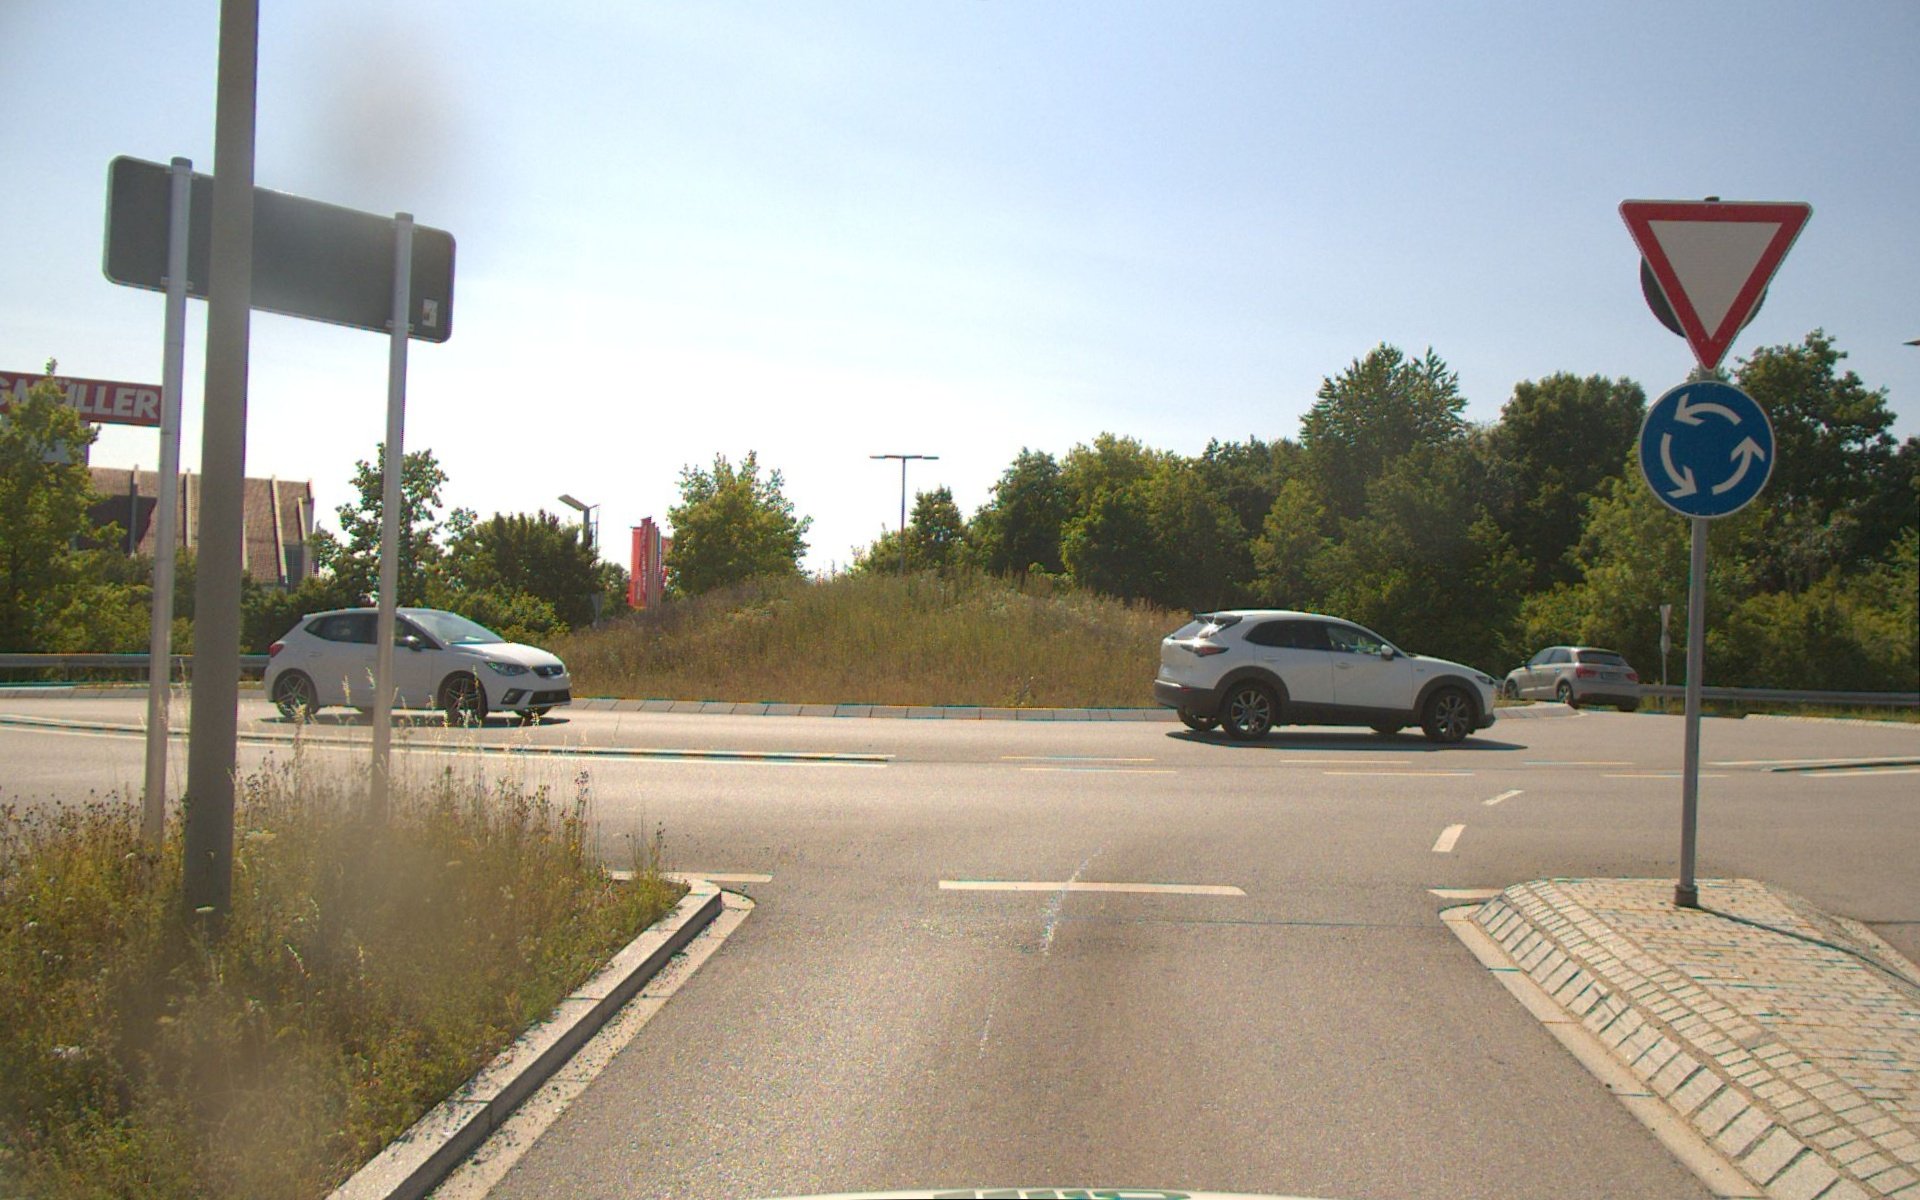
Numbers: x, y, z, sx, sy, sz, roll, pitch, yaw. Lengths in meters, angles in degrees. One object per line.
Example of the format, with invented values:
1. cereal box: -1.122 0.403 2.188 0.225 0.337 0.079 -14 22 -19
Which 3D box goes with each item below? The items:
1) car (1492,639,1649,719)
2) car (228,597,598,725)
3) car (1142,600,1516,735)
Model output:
1. car: 13.907 1.773 37.891 1.742 1.624 3.994 2 -1 -7
2. car: -7.105 0.753 21.555 4.310 1.430 1.792 2 -1 18
3. car: 4.551 0.838 20.628 4.196 1.557 1.787 1 -1 -10
